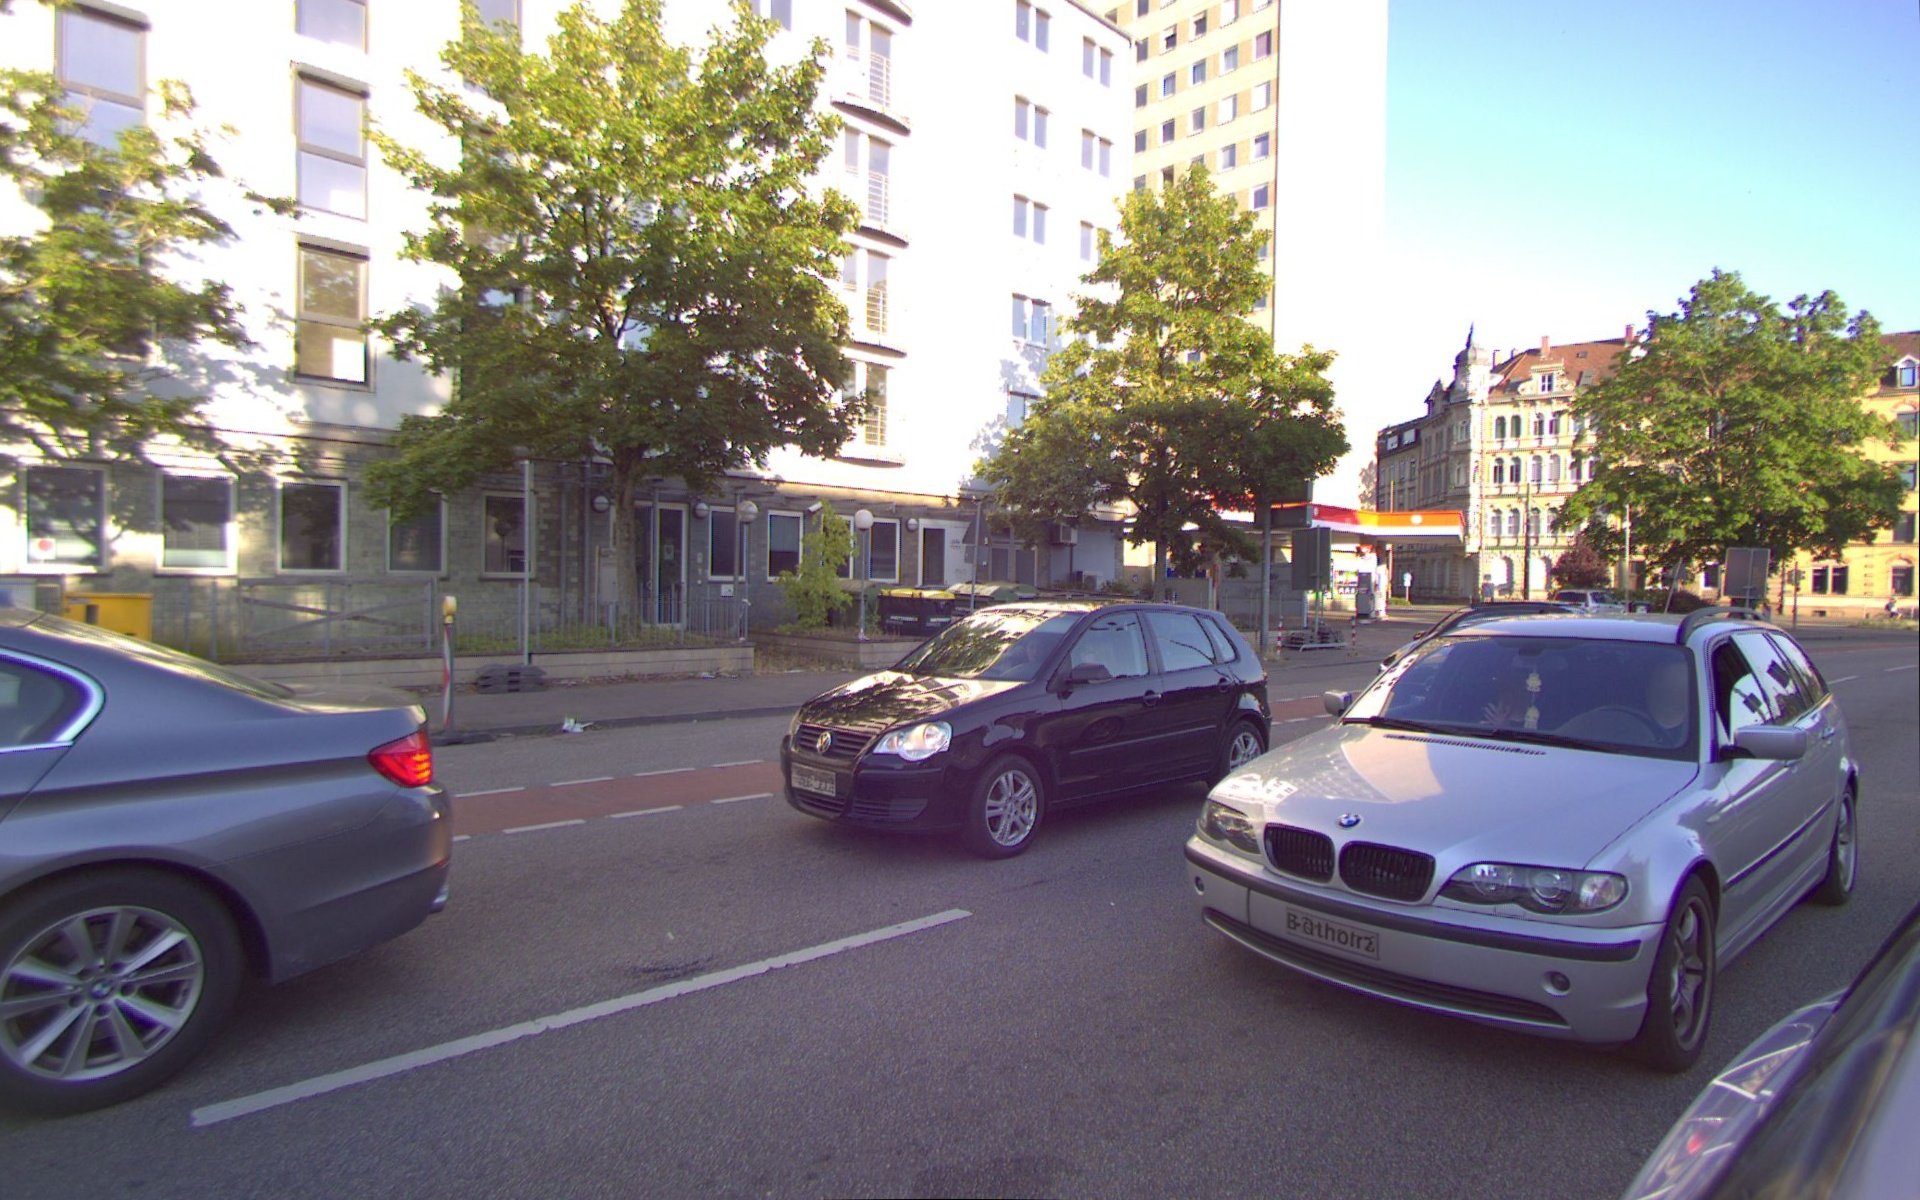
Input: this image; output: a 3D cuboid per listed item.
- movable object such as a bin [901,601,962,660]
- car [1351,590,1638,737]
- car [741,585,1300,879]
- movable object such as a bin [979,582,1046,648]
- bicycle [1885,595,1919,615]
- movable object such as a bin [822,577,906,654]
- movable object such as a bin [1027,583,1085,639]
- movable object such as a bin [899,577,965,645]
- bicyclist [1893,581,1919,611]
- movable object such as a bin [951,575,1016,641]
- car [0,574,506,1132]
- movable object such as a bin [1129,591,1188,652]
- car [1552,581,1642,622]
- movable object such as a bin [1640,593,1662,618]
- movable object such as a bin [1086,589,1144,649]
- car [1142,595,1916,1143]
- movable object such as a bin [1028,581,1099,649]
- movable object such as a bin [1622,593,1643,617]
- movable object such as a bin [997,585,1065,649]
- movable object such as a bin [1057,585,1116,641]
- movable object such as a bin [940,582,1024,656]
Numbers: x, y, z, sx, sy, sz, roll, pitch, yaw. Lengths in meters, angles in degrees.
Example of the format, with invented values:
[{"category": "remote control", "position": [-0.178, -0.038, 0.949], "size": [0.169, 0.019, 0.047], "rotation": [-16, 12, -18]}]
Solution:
[{"category": "movable object such as a bin", "position": [-0.556, 0.573, 19.475], "size": [0.851, 1.058, 0.807], "rotation": [2, 1, 45]}, {"category": "car", "position": [6.483, 0.623, 12.100], "size": [3.975, 1.467, 1.730], "rotation": [0, 0, -41]}, {"category": "car", "position": [0.590, 0.644, 6.905], "size": [3.804, 1.467, 1.583], "rotation": [0, 0, -41]}, {"category": "movable object such as a bin", "position": [1.203, 0.320, 23.196], "size": [1.143, 1.467, 1.033], "rotation": [0, 1, -44]}, {"category": "bicycle", "position": [53.780, 0.265, 57.423], "size": [1.920, 1.072, 0.444], "rotation": [2, 1, 43]}, {"category": "movable object such as a bin", "position": [-1.943, 0.286, 20.406], "size": [1.348, 1.479, 1.088], "rotation": [2, 1, 45]}, {"category": "movable object such as a bin", "position": [2.403, 0.260, 25.349], "size": [1.080, 1.345, 0.954], "rotation": [0, 1, -44]}, {"category": "movable object such as a bin", "position": [-0.662, 0.236, 23.626], "size": [1.143, 1.517, 1.033], "rotation": [0, 1, -44]}, {"category": "bicyclist", "position": [53.778, -0.250, 57.494], "size": [1.062, 1.669, 0.721], "rotation": [2, 1, 43]}, {"category": "movable object such as a bin", "position": [0.555, 0.182, 24.188], "size": [1.143, 1.517, 1.033], "rotation": [0, 1, -44]}, {"category": "car", "position": [-3.871, 0.662, 2.638], "size": [4.588, 1.467, 1.817], "rotation": [0, 0, -43]}, {"category": "movable object such as a bin", "position": [4.541, 0.475, 23.179], "size": [0.938, 1.345, 0.954], "rotation": [0, 1, -43]}, {"category": "car", "position": [25.770, 0.032, 40.908], "size": [3.723, 1.535, 1.691], "rotation": [-1, 2, -34]}, {"category": "movable object such as a bin", "position": [29.421, 0.230, 43.101], "size": [0.675, 1.031, 0.544], "rotation": [0, 1, -36]}, {"category": "movable object such as a bin", "position": [3.622, 0.414, 23.615], "size": [0.938, 1.345, 0.954], "rotation": [0, 1, -43]}, {"category": "car", "position": [2.928, 0.701, 4.711], "size": [4.360, 1.436, 1.674], "rotation": [0, 0, -39]}, {"category": "movable object such as a bin", "position": [2.155, 0.290, 21.065], "size": [1.143, 1.345, 0.954], "rotation": [0, 1, -44]}, {"category": "movable object such as a bin", "position": [29.107, 0.214, 43.787], "size": [0.675, 1.031, 0.544], "rotation": [0, 1, -36]}, {"category": "movable object such as a bin", "position": [1.543, 0.351, 22.047], "size": [1.143, 1.345, 0.954], "rotation": [0, 1, -44]}, {"category": "movable object such as a bin", "position": [3.083, 0.290, 24.621], "size": [1.080, 1.299, 0.954], "rotation": [0, 1, -44]}, {"category": "movable object such as a bin", "position": [0.450, 0.360, 20.884], "size": [1.348, 1.441, 1.088], "rotation": [2, 2, 45]}]
